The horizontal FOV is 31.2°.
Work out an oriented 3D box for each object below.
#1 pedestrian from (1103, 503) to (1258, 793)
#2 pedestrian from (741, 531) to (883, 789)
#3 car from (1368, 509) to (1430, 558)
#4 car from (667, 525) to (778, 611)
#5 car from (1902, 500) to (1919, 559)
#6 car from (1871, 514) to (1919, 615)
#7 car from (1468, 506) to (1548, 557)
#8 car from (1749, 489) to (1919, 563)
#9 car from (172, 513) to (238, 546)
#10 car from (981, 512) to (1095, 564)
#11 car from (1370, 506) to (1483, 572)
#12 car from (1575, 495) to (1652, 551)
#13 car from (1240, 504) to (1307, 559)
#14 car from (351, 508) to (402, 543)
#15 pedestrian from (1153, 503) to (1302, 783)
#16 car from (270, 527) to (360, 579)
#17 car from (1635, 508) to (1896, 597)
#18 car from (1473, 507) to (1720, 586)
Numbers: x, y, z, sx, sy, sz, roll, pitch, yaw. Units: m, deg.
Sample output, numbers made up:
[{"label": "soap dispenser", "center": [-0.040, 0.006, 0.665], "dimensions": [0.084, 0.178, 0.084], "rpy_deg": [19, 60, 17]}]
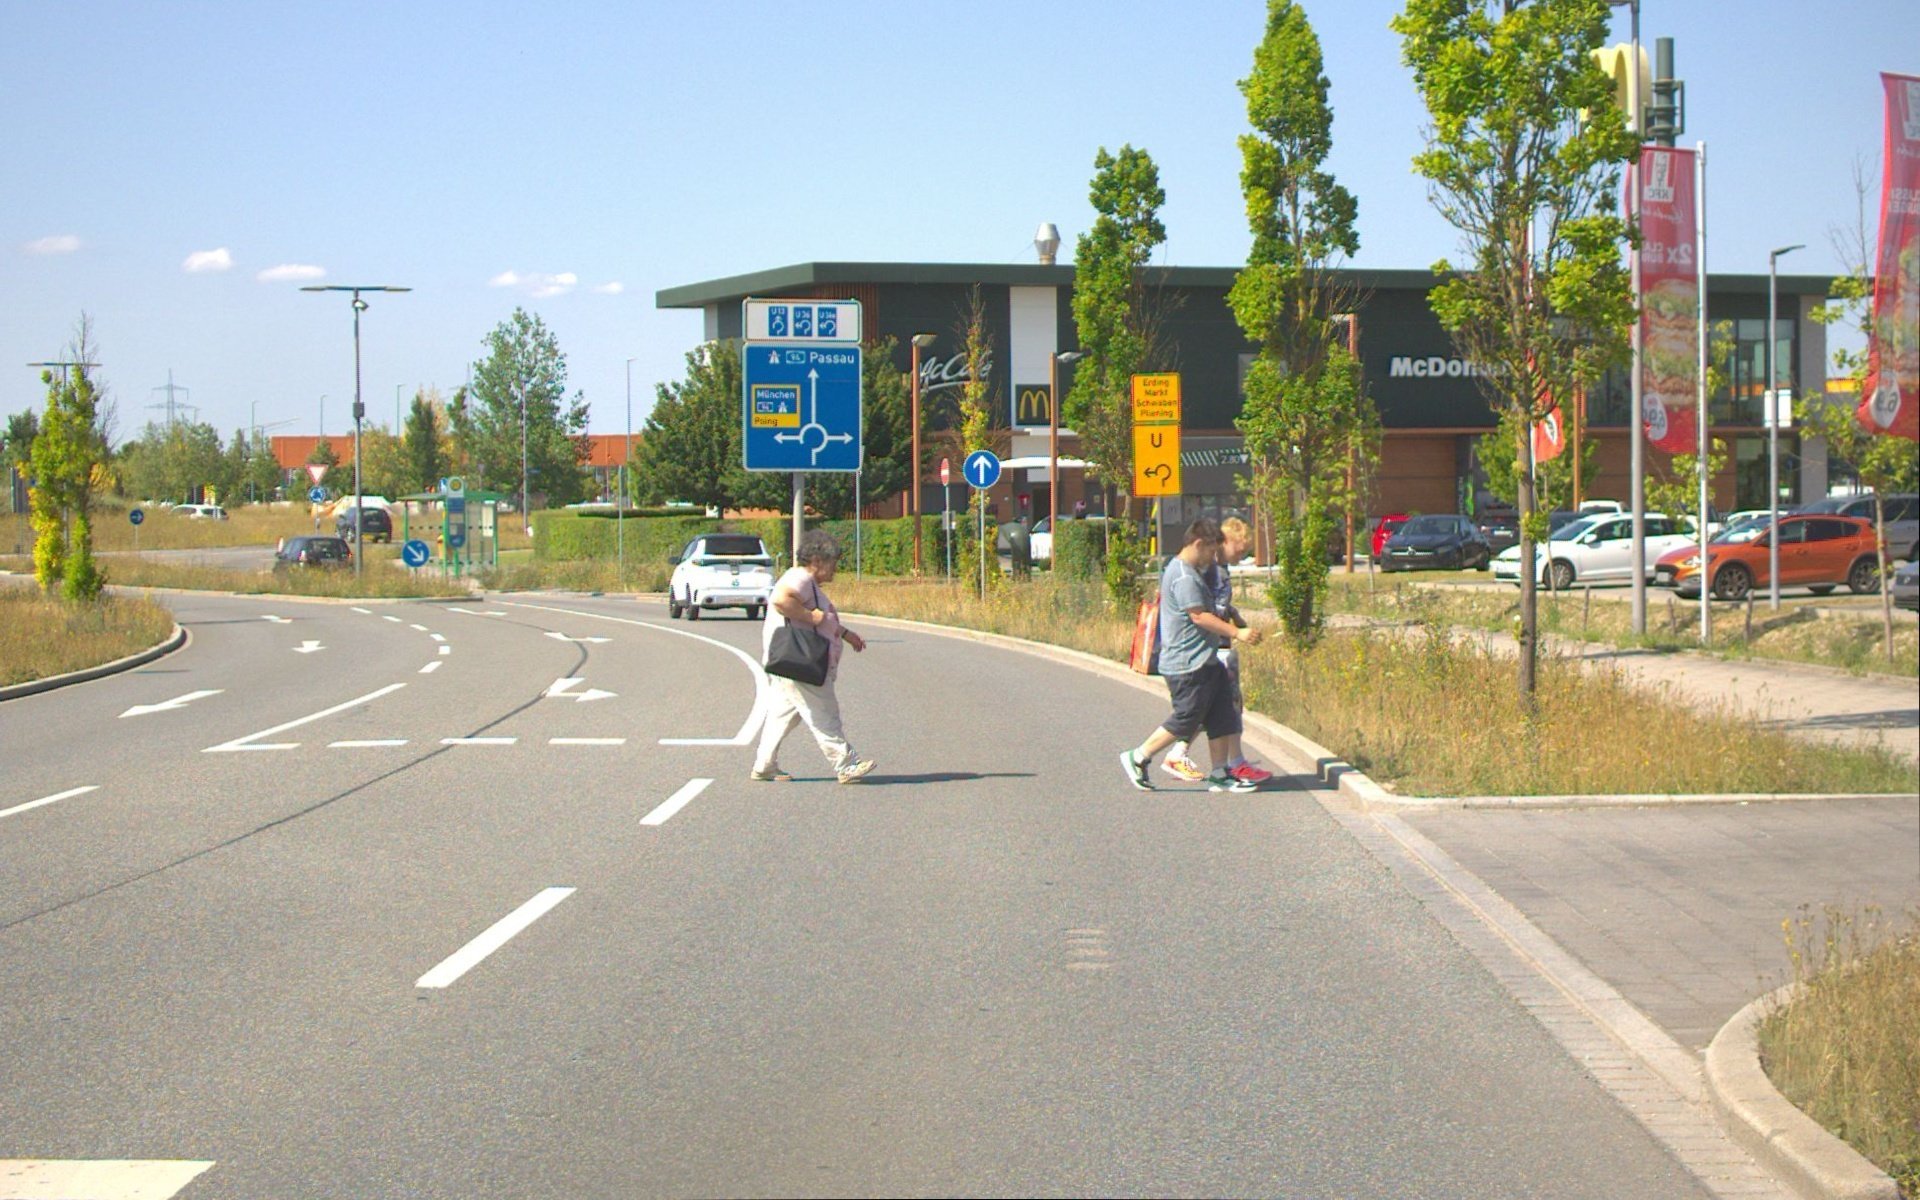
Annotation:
[{"label": "pedestrian", "center": [1.252, 0.258, 19.675], "dimensions": [0.809, 1.622, 0.866], "rpy_deg": [0, 1, -1]}, {"label": "pedestrian", "center": [-0.855, 0.333, 20.066], "dimensions": [0.793, 1.465, 0.949], "rpy_deg": [0, 1, -1]}, {"label": "car", "center": [13.416, -2.048, 104.912], "dimensions": [1.793, 1.429, 3.999], "rpy_deg": [-1, 1, 9]}, {"label": "car", "center": [-4.146, -0.577, 59.624], "dimensions": [1.616, 1.429, 3.793], "rpy_deg": [0, 1, -8]}, {"label": "car", "center": [24.495, -1.776, 85.225], "dimensions": [1.787, 1.446, 4.165], "rpy_deg": [0, 2, 21]}, {"label": "car", "center": [16.421, -0.600, 52.328], "dimensions": [4.554, 1.485, 1.869], "rpy_deg": [-2, 2, -11]}, {"label": "car", "center": [16.905, -2.112, 105.958], "dimensions": [1.794, 1.508, 3.997], "rpy_deg": [0, 1, 18]}, {"label": "car", "center": [20.325, -1.699, 78.670], "dimensions": [4.154, 1.629, 1.792], "rpy_deg": [-1, 2, -23]}, {"label": "car", "center": [-34.789, -3.273, 158.256], "dimensions": [1.993, 1.459, 4.001], "rpy_deg": [-1, 2, -27]}, {"label": "car", "center": [2.217, -1.780, 98.657], "dimensions": [1.792, 1.429, 4.001], "rpy_deg": [-1, 2, -22]}, {"label": "car", "center": [10.865, -1.433, 79.859], "dimensions": [1.699, 1.457, 4.165], "rpy_deg": [0, 2, 21]}, {"label": "car", "center": [20.483, -2.431, 107.663], "dimensions": [1.794, 1.696, 3.996], "rpy_deg": [0, 1, 19]}, {"label": "car", "center": [9.512, -2.096, 104.124], "dimensions": [1.793, 1.599, 3.999], "rpy_deg": [-1, 1, 9]}, {"label": "car", "center": [-24.651, -3.155, 145.145], "dimensions": [1.993, 1.435, 4.001], "rpy_deg": [-1, 2, -12]}, {"label": "pedestrian", "center": [1.575, 0.240, 20.367], "dimensions": [0.801, 1.624, 0.805], "rpy_deg": [0, 1, -1]}, {"label": "car", "center": [-17.972, -1.326, 95.738], "dimensions": [1.616, 1.429, 3.793], "rpy_deg": [-1, 1, -24]}, {"label": "car", "center": [14.552, -0.870, 62.153], "dimensions": [4.203, 1.485, 1.869], "rpy_deg": [-1, 2, -15]}, {"label": "car", "center": [12.860, -1.096, 69.481], "dimensions": [4.524, 1.485, 1.869], "rpy_deg": [-1, 2, -15]}]
